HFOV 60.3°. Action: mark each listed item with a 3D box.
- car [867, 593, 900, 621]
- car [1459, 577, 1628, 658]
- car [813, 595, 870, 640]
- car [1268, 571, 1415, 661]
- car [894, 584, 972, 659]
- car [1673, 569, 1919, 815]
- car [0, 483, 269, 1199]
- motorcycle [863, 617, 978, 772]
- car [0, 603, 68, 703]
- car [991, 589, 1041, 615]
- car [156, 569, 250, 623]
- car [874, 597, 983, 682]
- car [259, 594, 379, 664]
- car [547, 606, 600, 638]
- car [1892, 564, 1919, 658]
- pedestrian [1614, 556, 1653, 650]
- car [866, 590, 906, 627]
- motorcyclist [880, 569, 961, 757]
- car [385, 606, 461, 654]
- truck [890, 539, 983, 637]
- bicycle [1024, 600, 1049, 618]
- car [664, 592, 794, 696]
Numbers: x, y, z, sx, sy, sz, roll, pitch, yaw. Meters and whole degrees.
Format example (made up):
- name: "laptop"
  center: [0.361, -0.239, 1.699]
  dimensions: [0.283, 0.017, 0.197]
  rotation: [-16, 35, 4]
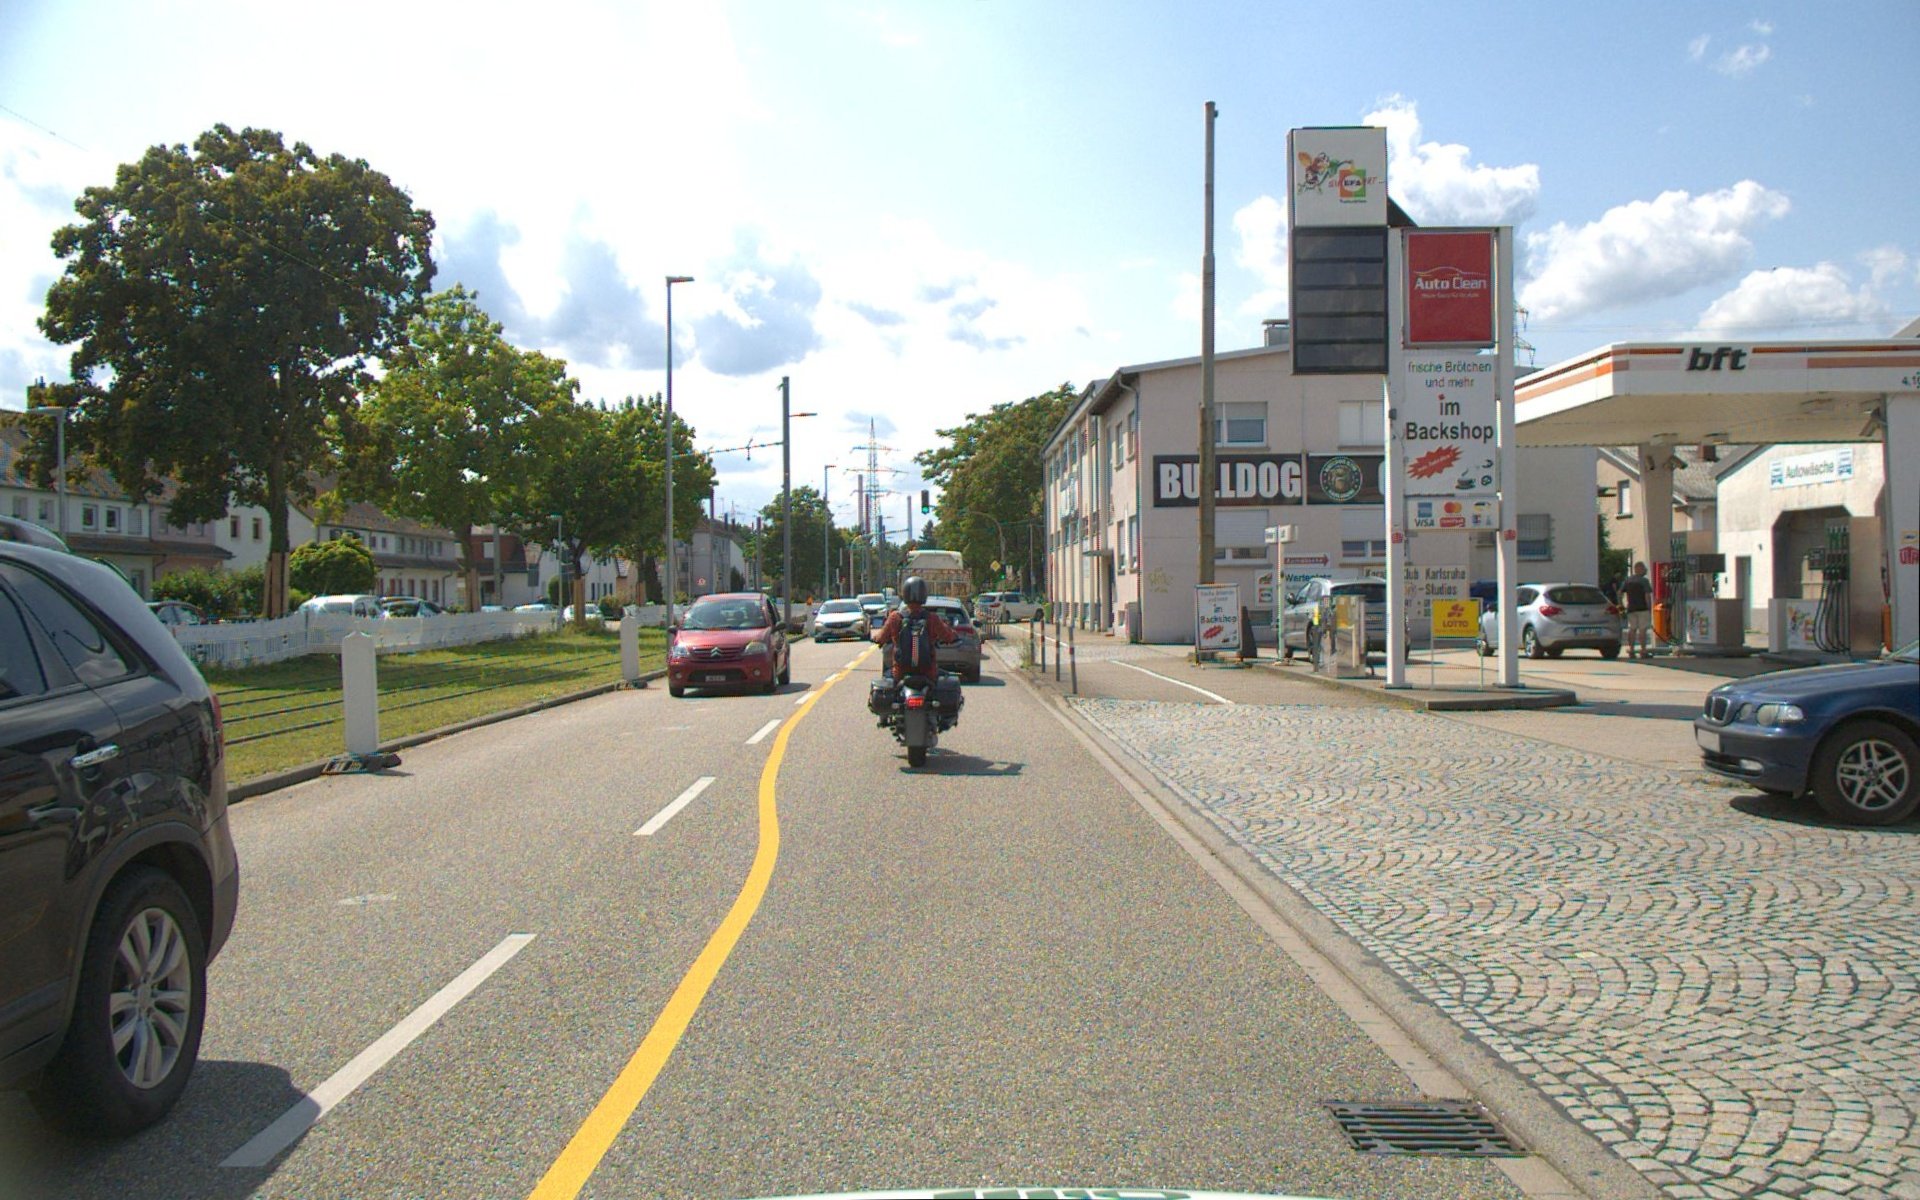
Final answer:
- name: "car"
  center: [-4.307, 0.388, 93.748]
  dimensions: [1.658, 1.437, 3.858]
  rotation: [-4, 0, -2]
- name: "car"
  center: [11.892, 0.356, 34.043]
  dimensions: [1.658, 1.496, 4.420]
  rotation: [-2, -1, -3]
- name: "car"
  center: [-4.152, 0.624, 58.327]
  dimensions: [1.784, 1.470, 4.482]
  rotation: [-2, 0, -2]
- name: "car"
  center: [7.521, 0.300, 33.066]
  dimensions: [1.905, 1.653, 4.616]
  rotation: [0, 0, 0]
- name: "car"
  center: [-0.679, 0.494, 42.788]
  dimensions: [1.862, 1.742, 4.719]
  rotation: [-1, 1, 0]
- name: "car"
  center: [6.788, 0.559, 10.356]
  dimensions: [3.966, 1.433, 1.648]
  rotation: [0, -1, 8]
- name: "car"
  center: [-3.100, 0.620, 3.236]
  dimensions: [1.760, 1.719, 4.220]
  rotation: [-2, 0, -2]
- name: "motorcycle"
  center: [-0.339, 0.795, 14.899]
  dimensions: [0.923, 1.221, 2.472]
  rotation: [1, 0, -1]
- name: "car"
  center: [-16.649, 0.902, 27.381]
  dimensions: [1.619, 1.654, 4.000]
  rotation: [-2, -1, -1]
- name: "car"
  center: [4.502, 0.174, 133.054]
  dimensions: [1.773, 1.959, 3.972]
  rotation: [0, -1, 44]
- name: "car"
  center: [-30.177, -0.128, 66.039]
  dimensions: [1.953, 2.049, 3.999]
  rotation: [1, -1, -1]
- name: "car"
  center: [-0.650, 0.674, 30.618]
  dimensions: [1.698, 1.428, 4.082]
  rotation: [1, 0, -5]
- name: "car"
  center: [-16.530, 0.738, 42.842]
  dimensions: [1.589, 1.680, 3.898]
  rotation: [-2, -1, -1]
- name: "car"
  center: [-16.909, 0.956, 72.453]
  dimensions: [1.491, 1.378, 3.620]
  rotation: [1, -1, -1]
- name: "car"
  center: [16.756, 0.219, 25.992]
  dimensions: [1.648, 1.546, 4.492]
  rotation: [-1, 2, -1]
- name: "pedestrian"
  center: [13.133, 0.068, 32.245]
  dimensions: [0.486, 1.808, 0.577]
  rotation: [1, -1, -3]
- name: "car"
  center: [-3.557, 0.412, 80.545]
  dimensions: [1.787, 1.695, 4.461]
  rotation: [-2, 0, -1]
- name: "motorcyclist"
  center: [-0.347, 0.551, 14.781]
  dimensions: [0.684, 1.632, 0.692]
  rotation: [1, -1, -1]
- name: "car"
  center: [-16.597, 0.901, 51.243]
  dimensions: [1.322, 1.401, 3.114]
  rotation: [-2, -1, -1]
- name: "truck"
  center: [-0.726, -0.356, 59.388]
  dimensions: [2.906, 3.229, 7.765]
  rotation: [1, -1, 2]
- name: "bicycle"
  center: [5.245, 0.600, 113.599]
  dimensions: [1.672, 1.192, 0.438]
  rotation: [1, -1, 4]
- name: "car"
  center: [-3.578, 0.641, 26.111]
  dimensions: [1.546, 1.495, 3.720]
  rotation: [-1, 0, -1]
